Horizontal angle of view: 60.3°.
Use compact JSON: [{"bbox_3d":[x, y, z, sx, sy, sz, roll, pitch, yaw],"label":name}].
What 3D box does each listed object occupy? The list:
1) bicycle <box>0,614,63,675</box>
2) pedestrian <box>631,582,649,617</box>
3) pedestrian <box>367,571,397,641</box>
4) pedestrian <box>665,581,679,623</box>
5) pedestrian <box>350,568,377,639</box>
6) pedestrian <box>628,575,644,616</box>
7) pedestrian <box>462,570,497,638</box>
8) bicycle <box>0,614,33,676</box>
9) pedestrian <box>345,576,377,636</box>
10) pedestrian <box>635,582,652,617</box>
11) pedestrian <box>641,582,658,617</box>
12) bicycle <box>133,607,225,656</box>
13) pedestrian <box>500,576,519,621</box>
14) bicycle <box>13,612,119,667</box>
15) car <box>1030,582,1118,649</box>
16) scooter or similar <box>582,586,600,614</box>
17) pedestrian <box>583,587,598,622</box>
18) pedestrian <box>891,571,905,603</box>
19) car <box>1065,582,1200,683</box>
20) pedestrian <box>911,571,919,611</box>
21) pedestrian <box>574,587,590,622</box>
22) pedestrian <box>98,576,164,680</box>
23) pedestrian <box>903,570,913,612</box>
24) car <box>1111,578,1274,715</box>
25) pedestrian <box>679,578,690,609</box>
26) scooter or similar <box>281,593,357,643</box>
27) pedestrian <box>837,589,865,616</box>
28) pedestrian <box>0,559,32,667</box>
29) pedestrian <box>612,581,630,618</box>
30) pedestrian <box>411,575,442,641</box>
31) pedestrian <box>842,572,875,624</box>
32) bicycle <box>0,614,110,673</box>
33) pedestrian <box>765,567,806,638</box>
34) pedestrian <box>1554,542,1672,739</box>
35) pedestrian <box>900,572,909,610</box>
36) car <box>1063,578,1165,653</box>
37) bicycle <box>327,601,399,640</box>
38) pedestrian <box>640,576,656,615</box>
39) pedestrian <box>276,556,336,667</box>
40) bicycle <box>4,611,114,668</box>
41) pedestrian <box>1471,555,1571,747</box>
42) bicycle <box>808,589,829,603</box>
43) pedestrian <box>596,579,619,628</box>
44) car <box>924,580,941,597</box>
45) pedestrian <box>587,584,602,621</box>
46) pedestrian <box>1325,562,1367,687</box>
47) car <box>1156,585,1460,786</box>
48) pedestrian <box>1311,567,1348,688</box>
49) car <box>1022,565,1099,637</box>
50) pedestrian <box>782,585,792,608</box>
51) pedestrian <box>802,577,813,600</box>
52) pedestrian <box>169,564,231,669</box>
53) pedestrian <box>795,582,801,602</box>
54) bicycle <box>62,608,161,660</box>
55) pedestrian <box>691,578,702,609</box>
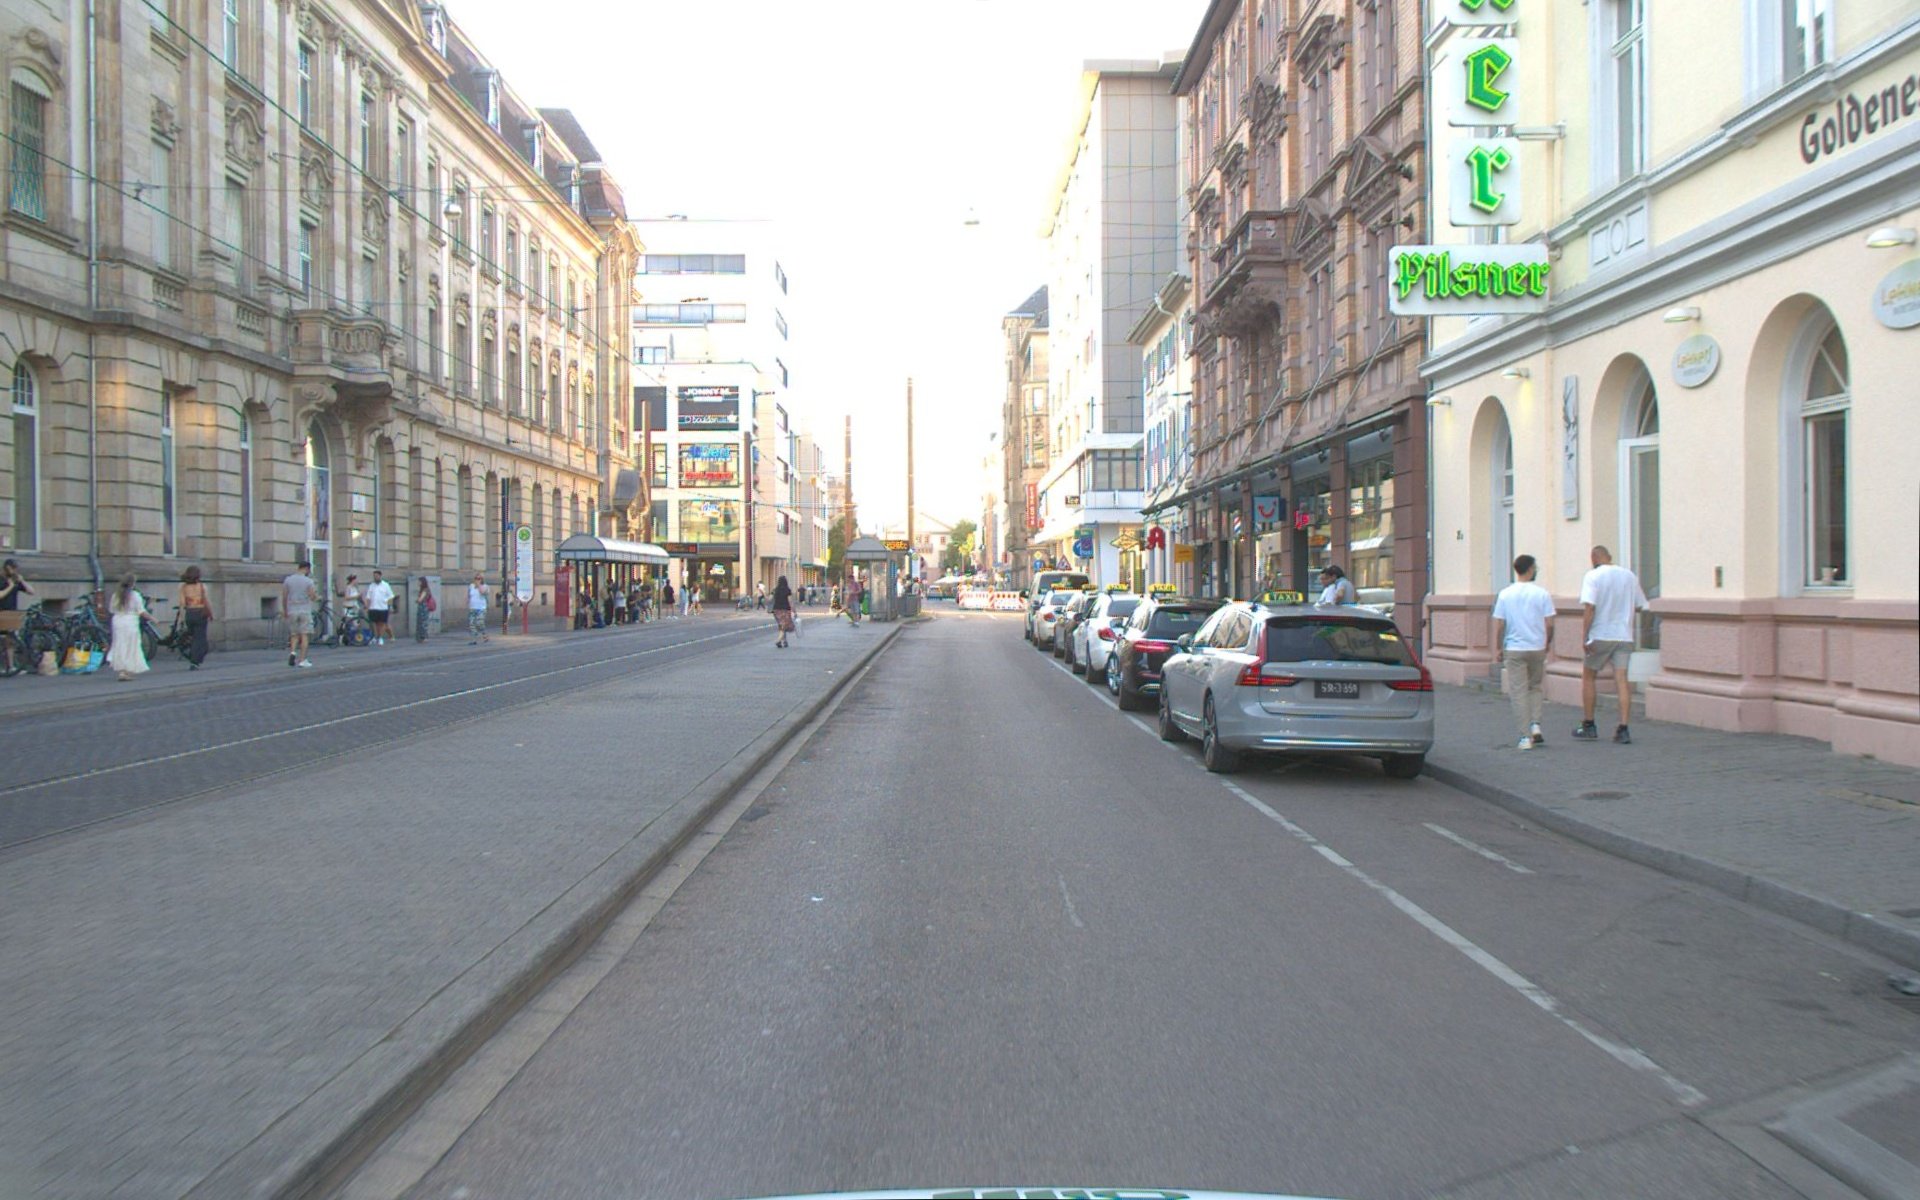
[{"bbox_3d":[-14.580,0.668,25.234,1.542,0.889,0.451,1,0,4],"label":"bicycle"},{"bbox_3d":[-12.230,-0.009,63.228,0.507,1.350,0.638,0,-1,3],"label":"pedestrian"},{"bbox_3d":[-13.815,0.138,39.555,0.466,1.671,0.563,1,0,3],"label":"pedestrian"},{"bbox_3d":[-12.374,0.077,70.992,0.548,1.807,0.468,0,0,-5],"label":"pedestrian"},{"bbox_3d":[-14.271,0.081,39.576,0.328,1.671,0.606,1,0,6],"label":"pedestrian"},{"bbox_3d":[-13.161,-0.191,67.145,0.507,1.674,0.638,0,-1,3],"label":"pedestrian"},{"bbox_3d":[-11.368,0.089,39.144,0.646,1.589,0.680,0,0,-1],"label":"pedestrian"},{"bbox_3d":[-14.678,0.656,24.596,1.542,0.889,0.451,1,0,4],"label":"bicycle"},{"bbox_3d":[-14.646,0.148,40.450,0.432,1.465,0.570,1,0,35],"label":"pedestrian"},{"bbox_3d":[-12.242,-0.010,63.996,0.507,1.350,0.638,0,-1,3],"label":"pedestrian"},{"bbox_3d":[-12.181,-0.010,64.868,0.507,1.350,0.638,0,-1,3],"label":"pedestrian"},{"bbox_3d":[-14.808,0.598,31.379,1.542,0.889,0.451,1,0,4],"label":"bicycle"},{"bbox_3d":[-15.964,-0.050,58.602,0.648,1.589,0.677,0,0,-15],"label":"pedestrian"},{"bbox_3d":[-15.062,0.654,27.878,1.542,0.889,0.451,1,0,4],"label":"bicycle"},{"bbox_3d":[2.837,0.345,41.948,1.769,1.509,4.777,2,1,-1],"label":"car"},{"bbox_3d":[-16.238,-0.012,72.857,0.476,1.202,1.293,1,0,1],"label":"scooter or similar"},{"bbox_3d":[-12.134,0.140,54.298,0.357,1.122,0.430,1,0,5],"label":"pedestrian"},{"bbox_3d":[-3.589,-0.764,95.356,0.684,1.847,0.852,1,0,5],"label":"pedestrian"},{"bbox_3d":[2.879,0.511,28.588,1.697,1.537,4.864,2,0,-1],"label":"car"},{"bbox_3d":[-2.069,-0.402,76.367,0.335,1.827,0.544,1,0,-3],"label":"pedestrian"},{"bbox_3d":[-12.280,0.138,53.710,0.357,1.122,0.430,1,0,5],"label":"pedestrian"},{"bbox_3d":[-12.046,0.401,24.036,0.678,1.492,0.556,0,0,-1],"label":"pedestrian"},{"bbox_3d":[-2.223,-0.385,70.533,0.404,1.798,0.594,1,0,-3],"label":"pedestrian"},{"bbox_3d":[3.046,0.573,22.457,1.697,1.618,4.443,2,0,2],"label":"car"},{"bbox_3d":[-13.618,-0.330,81.787,0.510,1.552,0.499,0,0,-17],"label":"pedestrian"},{"bbox_3d":[-14.348,0.391,37.014,1.514,1.087,0.451,1,0,4],"label":"scooter or similar"},{"bbox_3d":[-3.873,0.098,59.008,0.782,0.955,0.693,0,0,22],"label":"pedestrian"},{"bbox_3d":[-14.822,0.202,25.828,0.357,1.662,0.430,1,0,5],"label":"pedestrian"},{"bbox_3d":[-12.422,-0.019,60.602,0.507,1.350,0.638,0,-1,3],"label":"pedestrian"},{"bbox_3d":[-13.366,0.189,41.455,0.559,1.633,0.440,1,0,26],"label":"pedestrian"},{"bbox_3d":[-3.320,-0.063,53.975,0.675,1.666,0.857,0,0,40],"label":"pedestrian"},{"bbox_3d":[-14.250,0.673,26.001,1.542,0.889,0.451,1,0,4],"label":"bicycle"},{"bbox_3d":[-3.800,0.041,36.061,0.829,1.527,0.901,0,0,-1],"label":"pedestrian"},{"bbox_3d":[5.996,0.362,15.215,0.744,1.718,0.551,-5,0,-2],"label":"pedestrian"},{"bbox_3d":[-2.483,-0.406,73.539,0.378,1.670,0.549,1,0,-3],"label":"pedestrian"},{"bbox_3d":[3.304,0.323,36.279,1.691,1.503,4.819,1,0,-1],"label":"car"},{"bbox_3d":[-14.078,0.475,39.008,1.542,0.889,0.451,1,0,4],"label":"bicycle"},{"bbox_3d":[-12.830,-0.169,67.917,0.507,1.597,0.638,0,-1,3],"label":"pedestrian"},{"bbox_3d":[-10.950,0.187,27.713,0.678,1.844,0.814,0,0,-1],"label":"pedestrian"},{"bbox_3d":[-14.555,0.636,26.735,1.542,0.889,0.451,1,0,4],"label":"bicycle"},{"bbox_3d":[5.213,0.471,15.384,0.481,1.718,0.612,-5,1,-39],"label":"pedestrian"},{"bbox_3d":[-11.698,-0.320,136.489,1.661,1.141,0.451,1,0,1],"label":"bicycle"},{"bbox_3d":[-12.398,0.124,58.176,0.507,1.679,0.638,0,-1,21],"label":"pedestrian"},{"bbox_3d":[-3.302,-1.365,198.099,1.953,1.937,3.999,1,0,-1],"label":"car"},{"bbox_3d":[-12.187,0.068,55.143,0.357,1.221,0.430,1,0,5],"label":"pedestrian"},{"bbox_3d":[5.693,0.353,24.430,0.365,1.799,0.663,-2,0,-4],"label":"pedestrian"},{"bbox_3d":[3.052,0.666,15.533,1.769,1.501,4.693,1,1,-1],"label":"car"},{"bbox_3d":[5.584,0.405,25.030,0.365,1.799,0.455,-2,0,-5],"label":"pedestrian"},{"bbox_3d":[2.897,0.017,48.693,1.838,1.957,4.699,2,0,-1],"label":"car"},{"bbox_3d":[-13.176,-0.261,125.898,0.635,1.703,0.531,0,0,7],"label":"pedestrian"},{"bbox_3d":[-11.620,-0.865,126.307,0.766,1.782,0.600,1,0,-4],"label":"pedestrian"},{"bbox_3d":[-12.835,0.274,27.958,0.678,1.742,0.815,0,0,-1],"label":"pedestrian"},{"bbox_3d":[-12.369,-0.619,126.088,0.382,1.541,0.505,0,0,-2],"label":"pedestrian"},{"bbox_3d":[-15.121,0.604,29.501,1.542,0.889,0.451,1,0,4],"label":"bicycle"},{"bbox_3d":[-13.083,-0.312,82.050,0.517,1.552,0.500,0,0,-15],"label":"pedestrian"}]
